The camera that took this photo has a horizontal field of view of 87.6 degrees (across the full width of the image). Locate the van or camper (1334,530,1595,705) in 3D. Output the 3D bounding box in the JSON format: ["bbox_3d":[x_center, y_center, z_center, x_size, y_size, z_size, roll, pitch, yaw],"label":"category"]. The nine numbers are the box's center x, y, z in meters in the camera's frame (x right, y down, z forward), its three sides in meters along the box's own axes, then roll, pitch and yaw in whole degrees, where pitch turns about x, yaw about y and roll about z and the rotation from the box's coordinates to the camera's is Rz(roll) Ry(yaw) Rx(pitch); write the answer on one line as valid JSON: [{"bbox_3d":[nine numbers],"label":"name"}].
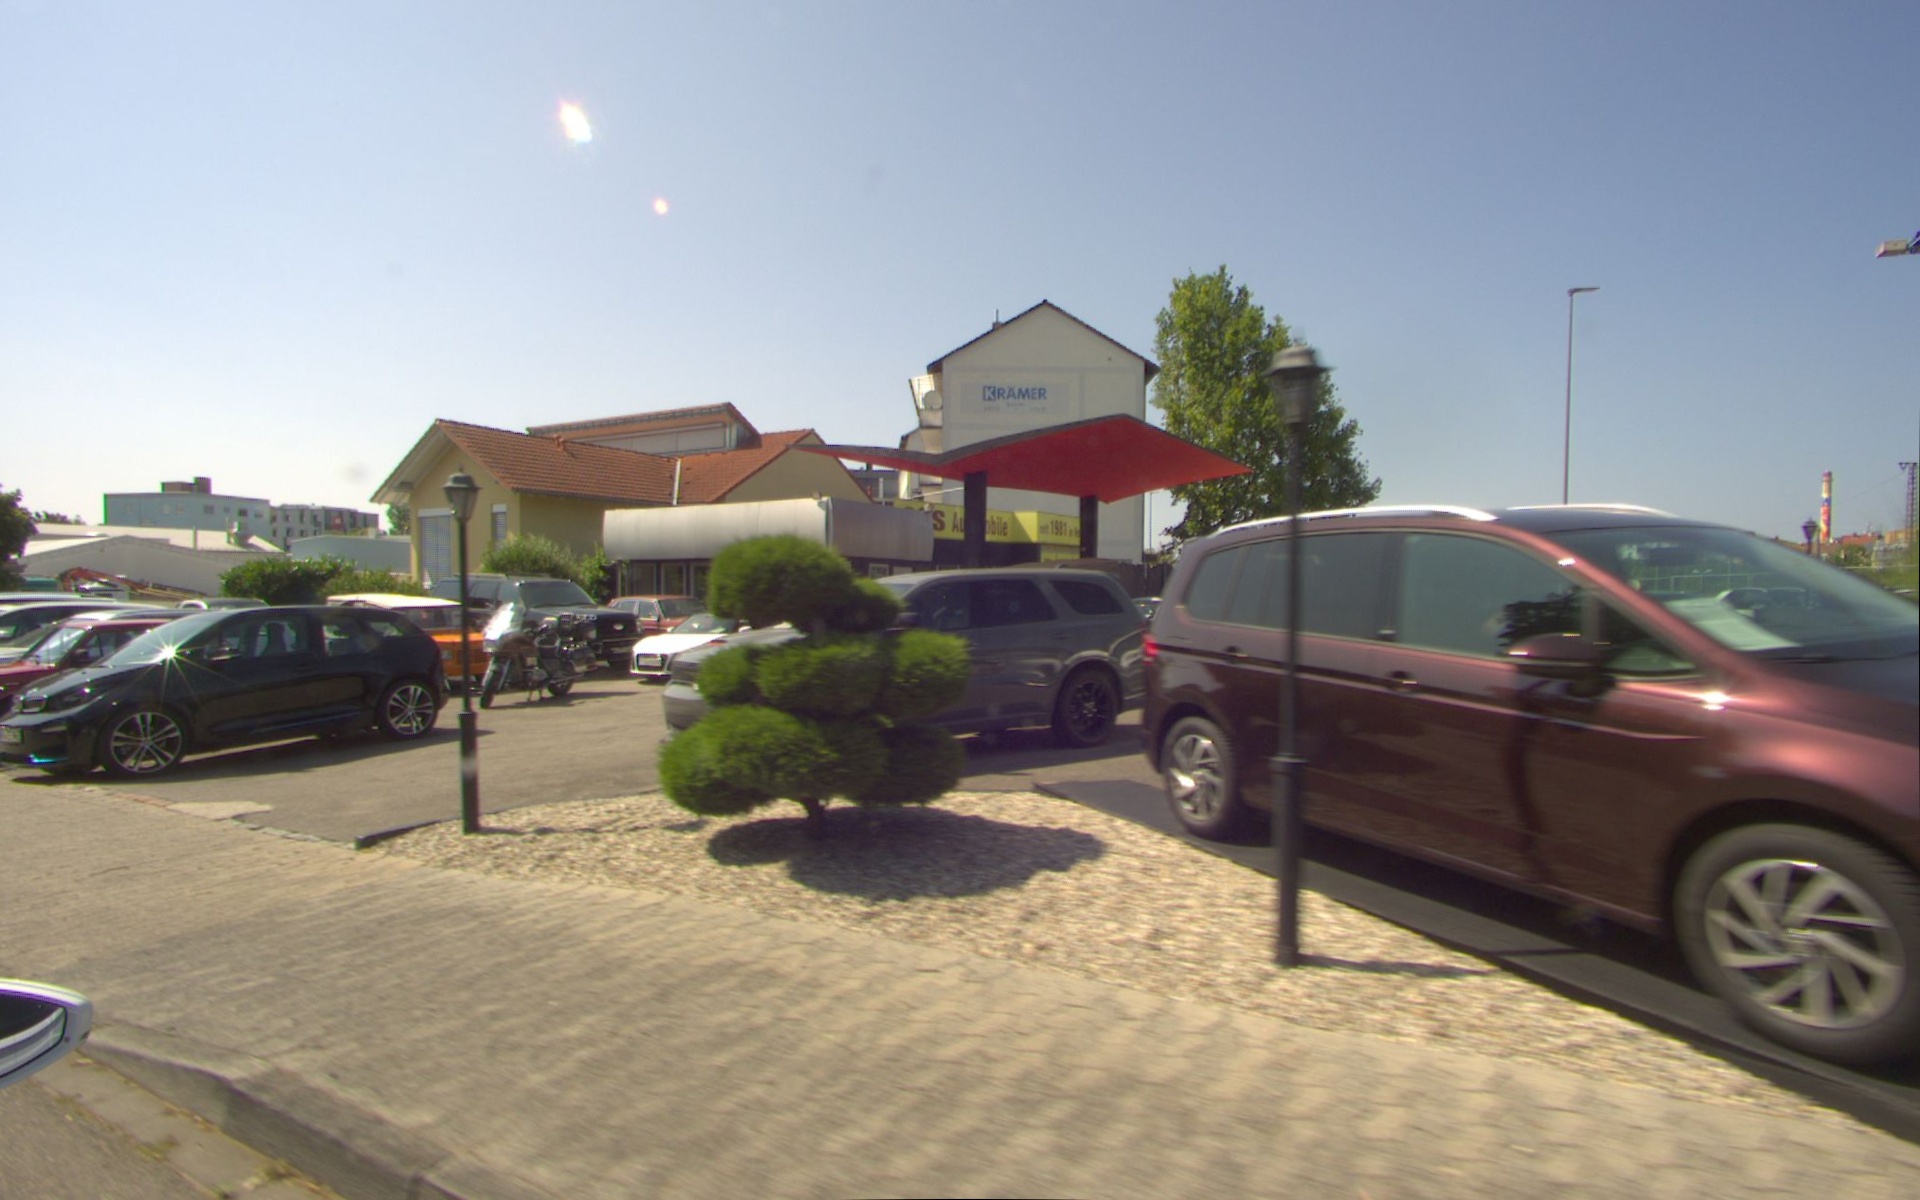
[{"bbox_3d":[7.675,0.256,15.978,2.071,2.291,5.505,0,0,8],"label":"van or camper"}]

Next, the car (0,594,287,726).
[{"bbox_3d":[-12.192,0.766,13.846,1.866,1.517,4.399,-1,2,25],"label":"car"}]

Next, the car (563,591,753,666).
[{"bbox_3d":[-7.056,0.614,23.417,3.936,1.617,1.993,0,1,26],"label":"car"}]

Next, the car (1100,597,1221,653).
[{"bbox_3d":[5.857,0.666,28.871,1.899,1.462,4.306,0,0,34],"label":"car"}]

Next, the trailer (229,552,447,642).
[{"bbox_3d":[-29.374,-0.147,47.747,3.027,3.914,8.306,0,1,36],"label":"trailer"}]

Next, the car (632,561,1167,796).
[{"bbox_3d":[-0.436,0.579,9.756,4.930,1.786,1.913,-1,1,-34],"label":"car"}]

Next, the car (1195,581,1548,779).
[{"bbox_3d":[3.772,0.645,10.080,1.888,1.554,4.207,-1,0,1],"label":"car"}]

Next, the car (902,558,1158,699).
[{"bbox_3d":[1.336,0.374,17.706,4.527,2.180,1.907,-2,2,-41],"label":"car"}]

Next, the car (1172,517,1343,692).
[{"bbox_3d":[5.277,0.095,18.673,2.216,2.714,6.017,0,0,8],"label":"car"}]

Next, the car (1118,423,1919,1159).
[{"bbox_3d":[2.596,0.464,4.211,1.823,1.806,4.276,-1,0,-23],"label":"car"}]

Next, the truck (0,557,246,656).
[{"bbox_3d":[-34.355,0.251,40.666,2.912,3.659,8.255,1,0,33],"label":"truck"}]

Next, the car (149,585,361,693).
[{"bbox_3d":[-13.543,0.722,19.224,3.733,1.884,1.991,-1,-1,31],"label":"car"}]

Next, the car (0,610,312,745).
[{"bbox_3d":[-10.261,0.855,12.308,1.535,1.353,3.544,0,1,29],"label":"car"}]

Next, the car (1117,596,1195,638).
[{"bbox_3d":[7.174,0.572,36.431,1.730,1.399,3.473,2,1,30],"label":"car"}]

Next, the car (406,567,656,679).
[{"bbox_3d":[-8.690,0.419,20.223,4.829,2.041,1.992,0,1,27],"label":"car"}]

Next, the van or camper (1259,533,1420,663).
[{"bbox_3d":[7.983,-0.049,21.600,1.961,2.469,4.934,0,0,5],"label":"van or camper"}]

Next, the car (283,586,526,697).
[{"bbox_3d":[-9.756,0.656,17.556,3.940,1.751,1.990,0,1,30],"label":"car"}]

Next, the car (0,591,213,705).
[{"bbox_3d":[-14.406,0.727,15.288,1.866,1.549,4.399,-1,2,25],"label":"car"}]

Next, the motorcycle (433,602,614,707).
[{"bbox_3d":[-6.735,0.784,15.671,0.993,1.452,2.684,0,1,20],"label":"motorcycle"}]

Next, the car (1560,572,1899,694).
[{"bbox_3d":[11.217,0.423,14.931,1.619,1.570,3.751,-1,0,-18],"label":"car"}]

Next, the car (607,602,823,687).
[{"bbox_3d":[-4.604,0.764,19.478,1.918,1.336,4.114,0,2,25],"label":"car"}]

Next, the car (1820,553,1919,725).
[{"bbox_3d":[10.847,0.386,9.299,1.828,1.728,3.992,-1,0,-16],"label":"car"}]

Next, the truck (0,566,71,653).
[{"bbox_3d":[-40.132,0.284,39.204,2.490,3.466,7.511,1,-2,31],"label":"truck"}]

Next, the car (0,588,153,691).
[{"bbox_3d":[-16.427,0.639,16.587,1.815,1.675,4.398,0,0,28],"label":"car"}]

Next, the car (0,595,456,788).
[{"bbox_3d":[-7.722,0.795,10.765,1.733,1.646,3.797,0,1,29],"label":"car"}]
